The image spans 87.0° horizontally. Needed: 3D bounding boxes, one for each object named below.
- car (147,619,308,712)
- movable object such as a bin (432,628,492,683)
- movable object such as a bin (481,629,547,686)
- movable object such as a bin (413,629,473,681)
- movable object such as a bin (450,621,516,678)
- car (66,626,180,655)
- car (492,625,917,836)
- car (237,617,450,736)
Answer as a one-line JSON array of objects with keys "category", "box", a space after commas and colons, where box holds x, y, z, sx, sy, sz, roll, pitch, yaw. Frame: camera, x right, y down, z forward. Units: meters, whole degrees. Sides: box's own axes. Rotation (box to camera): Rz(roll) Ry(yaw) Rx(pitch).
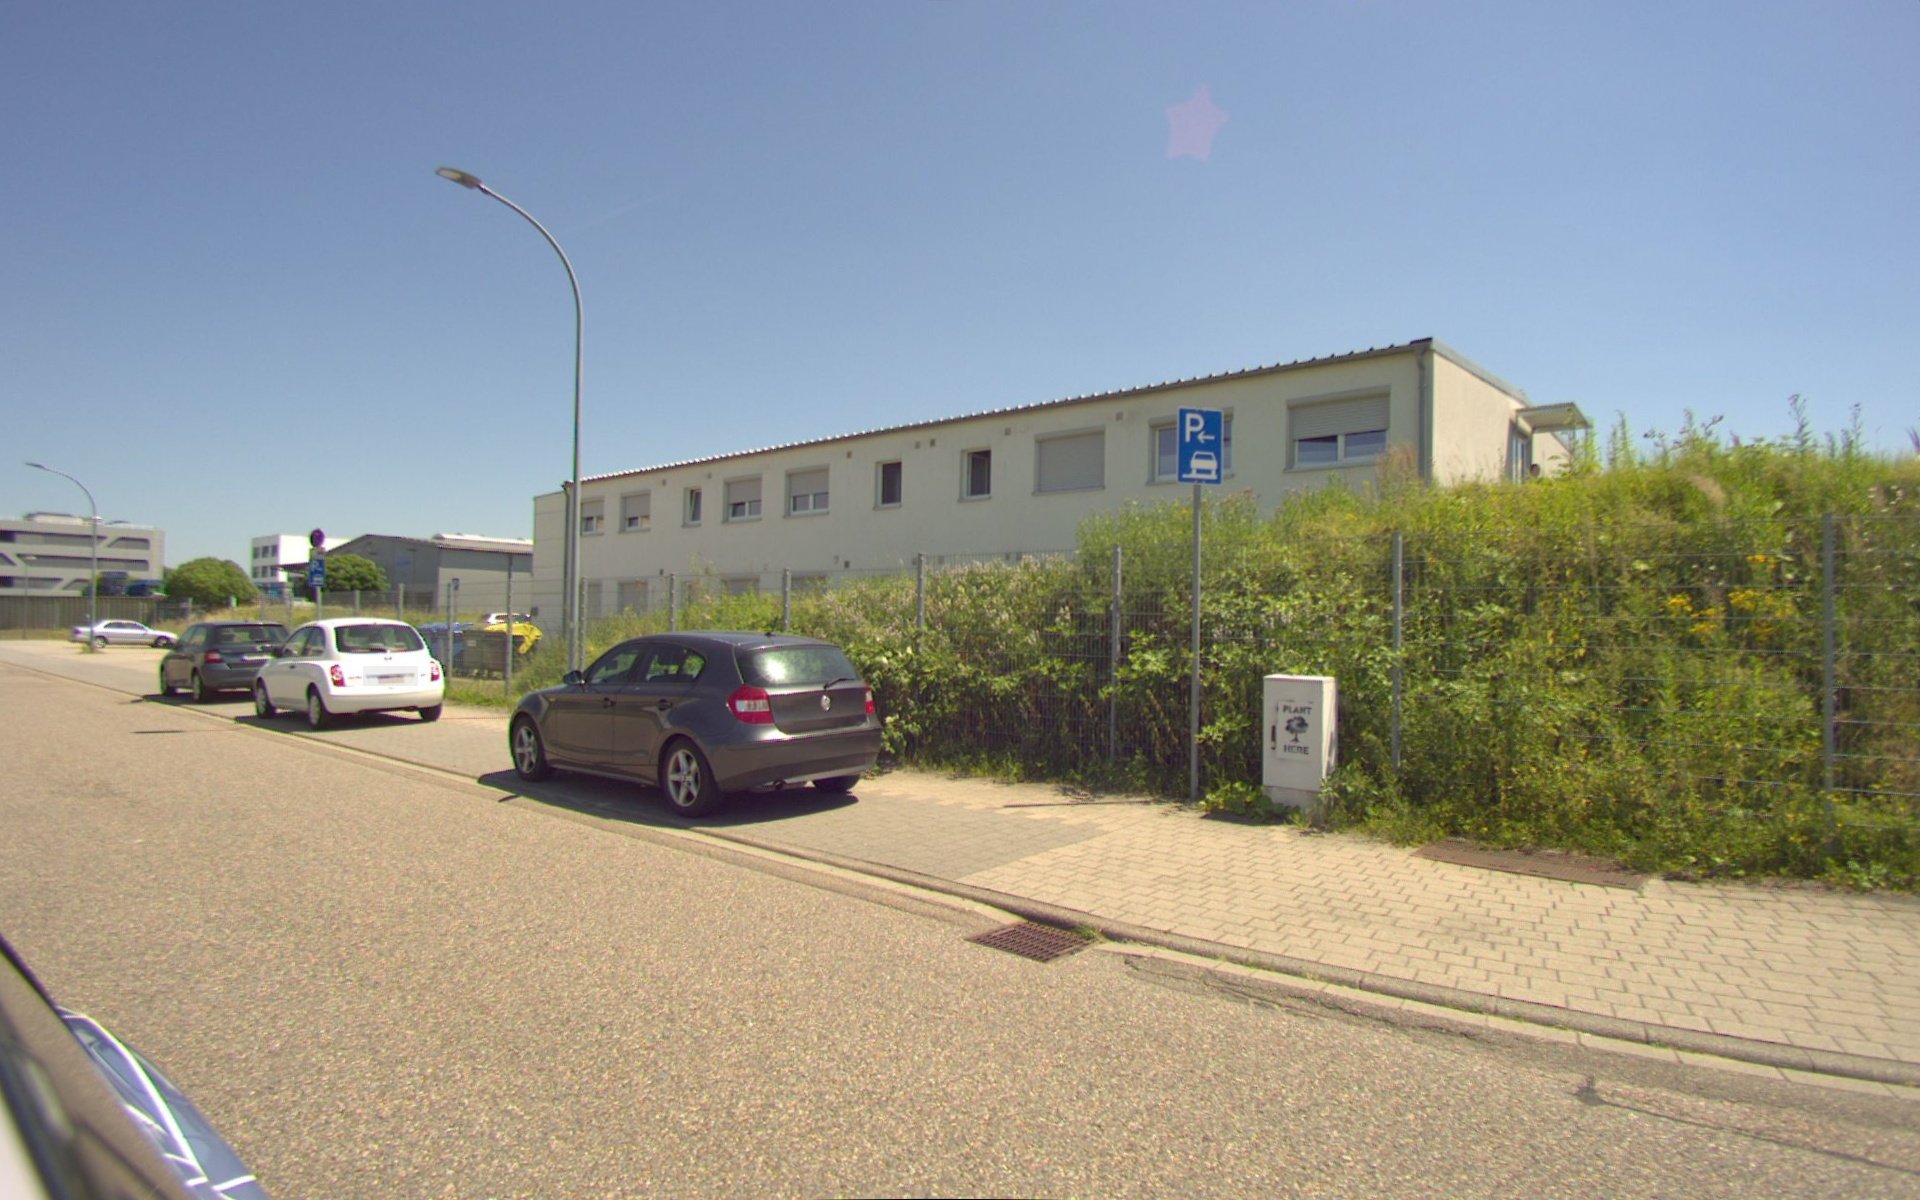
[{"category": "car", "box": [-14.099, 1.167, 19.408, 3.908, 1.541, 1.656, 0, -1, 41]}, {"category": "movable object such as a bin", "box": [-13.975, 1.533, 28.389, 1.371, 1.459, 1.112, 0, -1, 44]}, {"category": "movable object such as a bin", "box": [-11.632, 1.480, 26.383, 1.388, 1.416, 1.130, 0, -1, 43]}, {"category": "movable object such as a bin", "box": [-15.032, 1.574, 29.427, 1.434, 1.459, 1.130, 0, -1, 44]}, {"category": "movable object such as a bin", "box": [-12.910, 1.316, 27.388, 1.386, 1.459, 1.078, 0, -1, 36]}, {"category": "car", "box": [-42.249, 2.040, 51.160, 1.862, 1.390, 4.201, -1, -2, 42]}, {"category": "car", "box": [-2.422, 0.977, 9.015, 4.067, 1.462, 1.656, -2, -3, 41]}, {"category": "car", "box": [-9.348, 1.052, 15.245, 3.756, 1.541, 1.656, 0, -2, 41]}]
